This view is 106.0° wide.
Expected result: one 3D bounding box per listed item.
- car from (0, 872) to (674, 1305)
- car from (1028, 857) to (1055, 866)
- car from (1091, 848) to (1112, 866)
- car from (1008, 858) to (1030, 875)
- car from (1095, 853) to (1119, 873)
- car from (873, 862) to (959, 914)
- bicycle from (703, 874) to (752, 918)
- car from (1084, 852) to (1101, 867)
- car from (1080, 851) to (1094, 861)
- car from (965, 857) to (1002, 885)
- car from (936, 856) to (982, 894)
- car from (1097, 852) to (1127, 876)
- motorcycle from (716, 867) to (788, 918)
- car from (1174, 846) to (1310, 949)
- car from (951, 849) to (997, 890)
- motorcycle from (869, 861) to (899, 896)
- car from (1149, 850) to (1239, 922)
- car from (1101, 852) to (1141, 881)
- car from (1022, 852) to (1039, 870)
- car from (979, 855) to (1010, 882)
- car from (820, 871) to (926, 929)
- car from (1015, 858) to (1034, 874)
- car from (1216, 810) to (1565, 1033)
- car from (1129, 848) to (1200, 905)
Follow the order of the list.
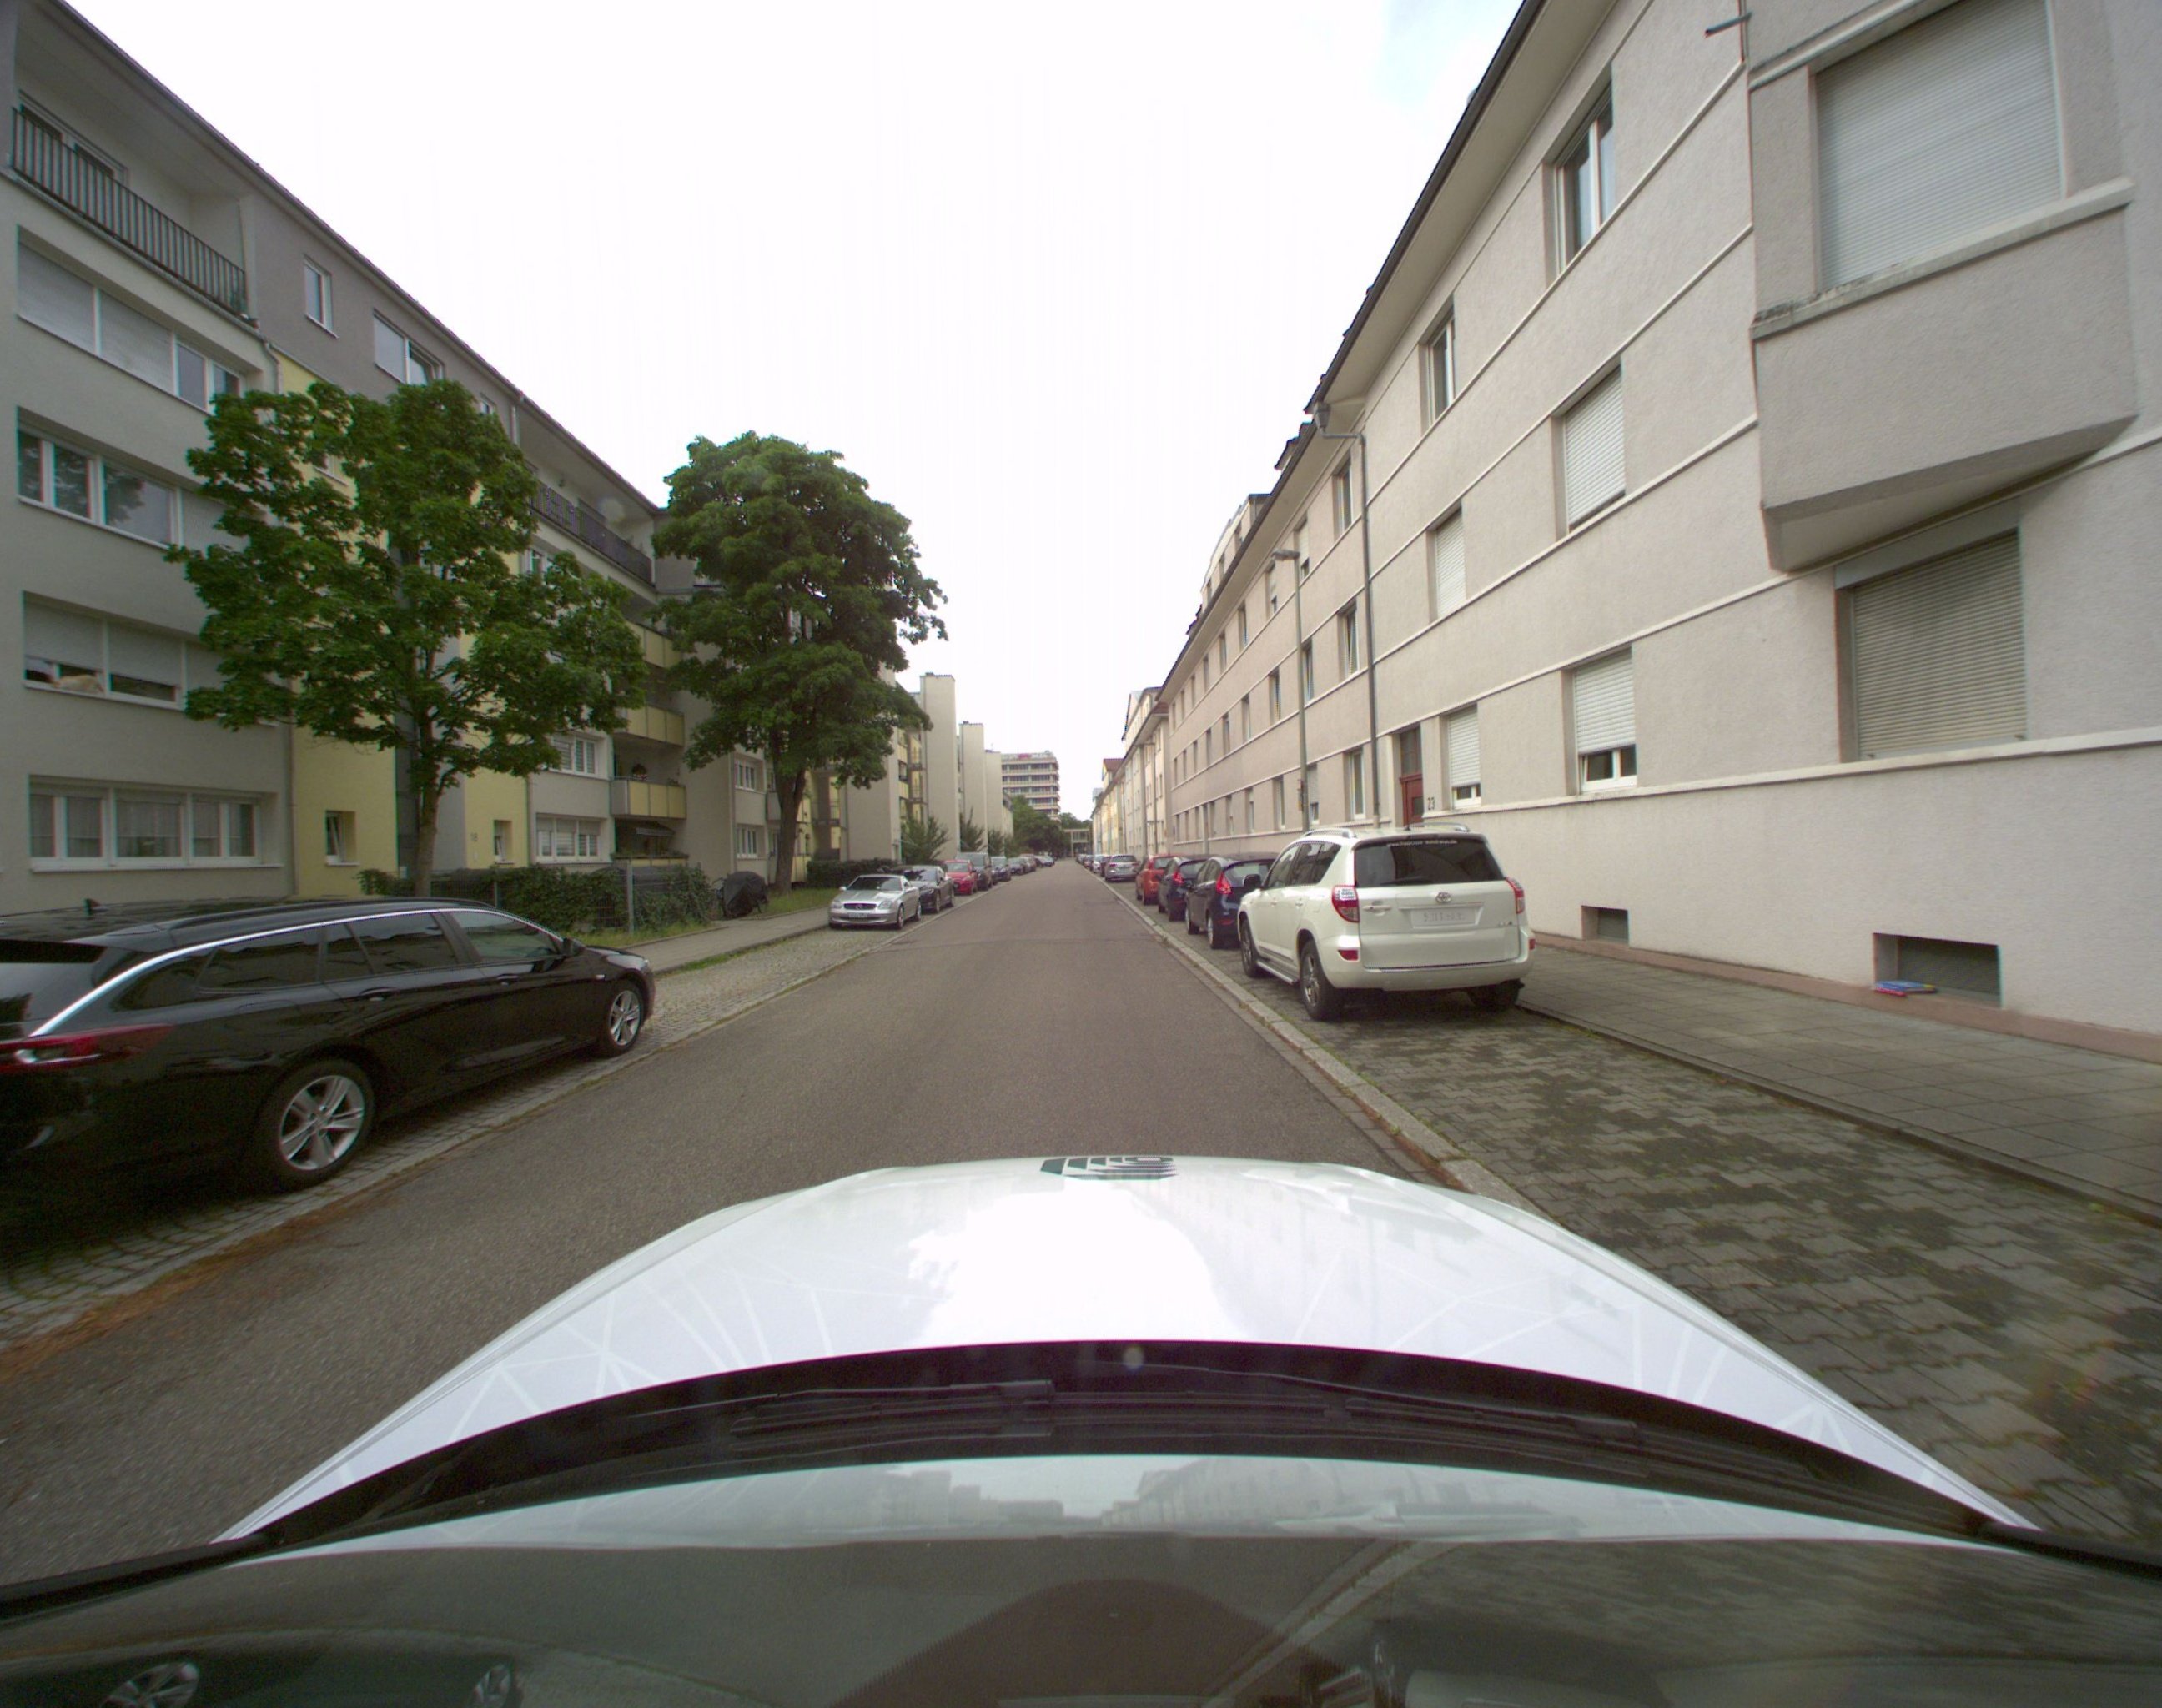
[{"bbox_3d":[-4.880,0.925,5.432,1.861,1.464,4.834,1,0,0],"label":"car"},{"bbox_3d":[-5.599,1.020,115.067,3.693,1.214,1.554,-1,0,34],"label":"car"},{"bbox_3d":[1.911,0.267,77.930,1.814,1.577,3.751,-1,0,-1],"label":"car"},{"bbox_3d":[-5.274,1.041,69.712,1.667,1.352,3.815,-1,0,-1],"label":"car"},{"bbox_3d":[2.088,0.702,66.345,1.814,1.504,3.751,-1,0,-1],"label":"car"},{"bbox_3d":[-5.139,1.010,25.996,1.836,1.421,4.628,0,0,-1],"label":"car"},{"bbox_3d":[-9.759,1.137,22.516,0.550,1.101,1.774,-1,0,0],"label":"bicycle"},{"bbox_3d":[1.316,0.620,94.819,1.814,1.577,3.882,-1,0,-1],"label":"car"},{"bbox_3d":[0.948,0.263,122.183,1.988,1.398,3.998,1,0,-1],"label":"car"},{"bbox_3d":[-5.662,0.958,47.849,1.826,1.459,4.256,-1,0,-3],"label":"car"},{"bbox_3d":[-5.355,0.887,36.141,1.559,1.569,3.639,1,0,-2],"label":"car"},{"bbox_3d":[2.028,0.649,54.195,1.666,1.420,3.997,-4,0,-2],"label":"car"},{"bbox_3d":[-8.985,1.011,22.433,0.678,1.223,3.067,-1,0,1],"label":"motorcycle"},{"bbox_3d":[2.631,0.640,14.112,1.562,1.478,3.870,-2,0,0],"label":"car"},{"bbox_3d":[-5.356,0.717,41.184,1.874,1.903,5.025,1,0,-3],"label":"car"},{"bbox_3d":[-7.991,0.967,33.134,0.675,1.356,2.228,1,0,-1],"label":"motorcycle"},{"bbox_3d":[2.605,0.682,19.485,1.562,1.473,3.696,-4,0,0],"label":"car"},{"bbox_3d":[2.098,0.627,43.842,1.751,1.467,4.597,-1,0,-2],"label":"car"},{"bbox_3d":[-5.793,0.757,93.512,1.667,1.938,3.740,-1,0,-1],"label":"car"},{"bbox_3d":[-5.637,0.914,53.583,1.765,1.643,4.351,-1,0,-3],"label":"car"},{"bbox_3d":[-5.182,1.101,20.792,1.691,1.258,4.014,0,0,-1],"label":"car"},{"bbox_3d":[-5.711,1.171,83.258,1.667,1.526,4.251,-1,0,-1],"label":"car"},{"bbox_3d":[2.824,0.517,8.606,1.838,1.673,4.285,-3,0,-3],"label":"car"},{"bbox_3d":[2.478,0.624,24.973,1.691,1.525,3.824,-3,0,-1],"label":"car"}]
